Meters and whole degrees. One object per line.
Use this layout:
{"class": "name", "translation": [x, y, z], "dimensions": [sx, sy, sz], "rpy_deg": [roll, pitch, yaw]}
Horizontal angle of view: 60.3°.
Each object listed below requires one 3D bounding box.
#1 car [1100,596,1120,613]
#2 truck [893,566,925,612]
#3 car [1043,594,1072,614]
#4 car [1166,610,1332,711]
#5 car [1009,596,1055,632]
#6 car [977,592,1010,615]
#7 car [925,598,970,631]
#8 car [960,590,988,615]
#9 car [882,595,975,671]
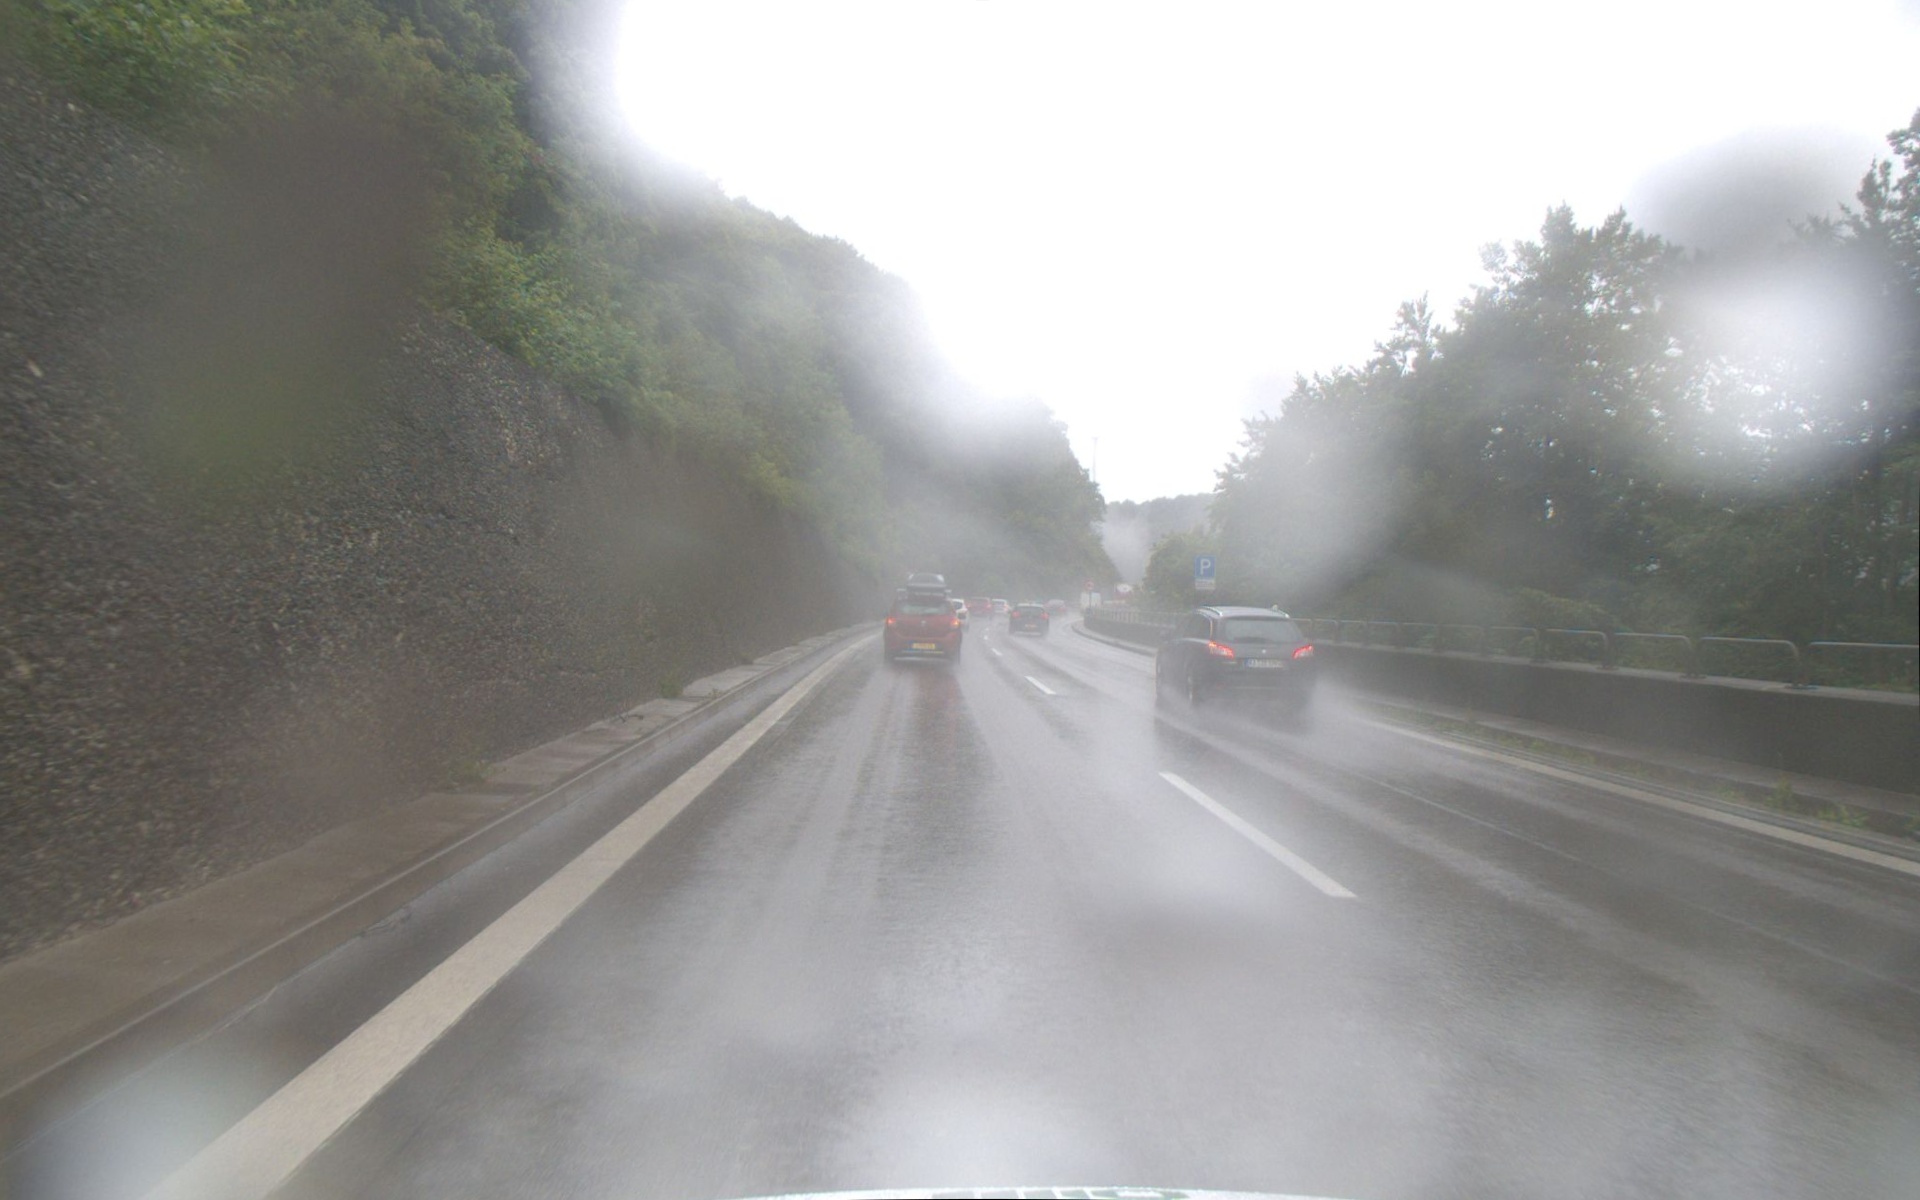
{"class": "car", "translation": [18.550, 0.530, 203.797], "dimensions": [2.397, 2.049, 4.739], "rpy_deg": [1, 0, 6]}
{"class": "truck", "translation": [-3.249, -0.690, 106.523], "dimensions": [1.953, 2.799, 5.585], "rpy_deg": [1, 0, -1]}
{"class": "car", "translation": [8.881, 0.381, 150.279], "dimensions": [1.786, 1.749, 4.003], "rpy_deg": [-1, -1, 15]}
{"class": "car", "translation": [4.172, 0.832, 24.429], "dimensions": [1.763, 1.330, 4.000], "rpy_deg": [1, 0, 0]}
{"class": "car", "translation": [3.257, 0.608, 75.314], "dimensions": [1.953, 1.579, 4.000], "rpy_deg": [0, 0, 0]}
{"class": "car", "translation": [2.793, 0.304, 136.254], "dimensions": [1.827, 1.724, 4.003], "rpy_deg": [-1, -1, 14]}
{"class": "car", "translation": [-0.579, 0.611, 73.558], "dimensions": [1.953, 1.378, 3.999], "rpy_deg": [1, 0, -1]}
{"class": "car", "translation": [1.010, 0.155, 117.865], "dimensions": [1.828, 1.713, 4.002], "rpy_deg": [1, 0, 3]}
{"class": "car", "translation": [-0.739, 0.716, 37.065], "dimensions": [1.953, 1.579, 3.998], "rpy_deg": [-1, -1, -2]}
